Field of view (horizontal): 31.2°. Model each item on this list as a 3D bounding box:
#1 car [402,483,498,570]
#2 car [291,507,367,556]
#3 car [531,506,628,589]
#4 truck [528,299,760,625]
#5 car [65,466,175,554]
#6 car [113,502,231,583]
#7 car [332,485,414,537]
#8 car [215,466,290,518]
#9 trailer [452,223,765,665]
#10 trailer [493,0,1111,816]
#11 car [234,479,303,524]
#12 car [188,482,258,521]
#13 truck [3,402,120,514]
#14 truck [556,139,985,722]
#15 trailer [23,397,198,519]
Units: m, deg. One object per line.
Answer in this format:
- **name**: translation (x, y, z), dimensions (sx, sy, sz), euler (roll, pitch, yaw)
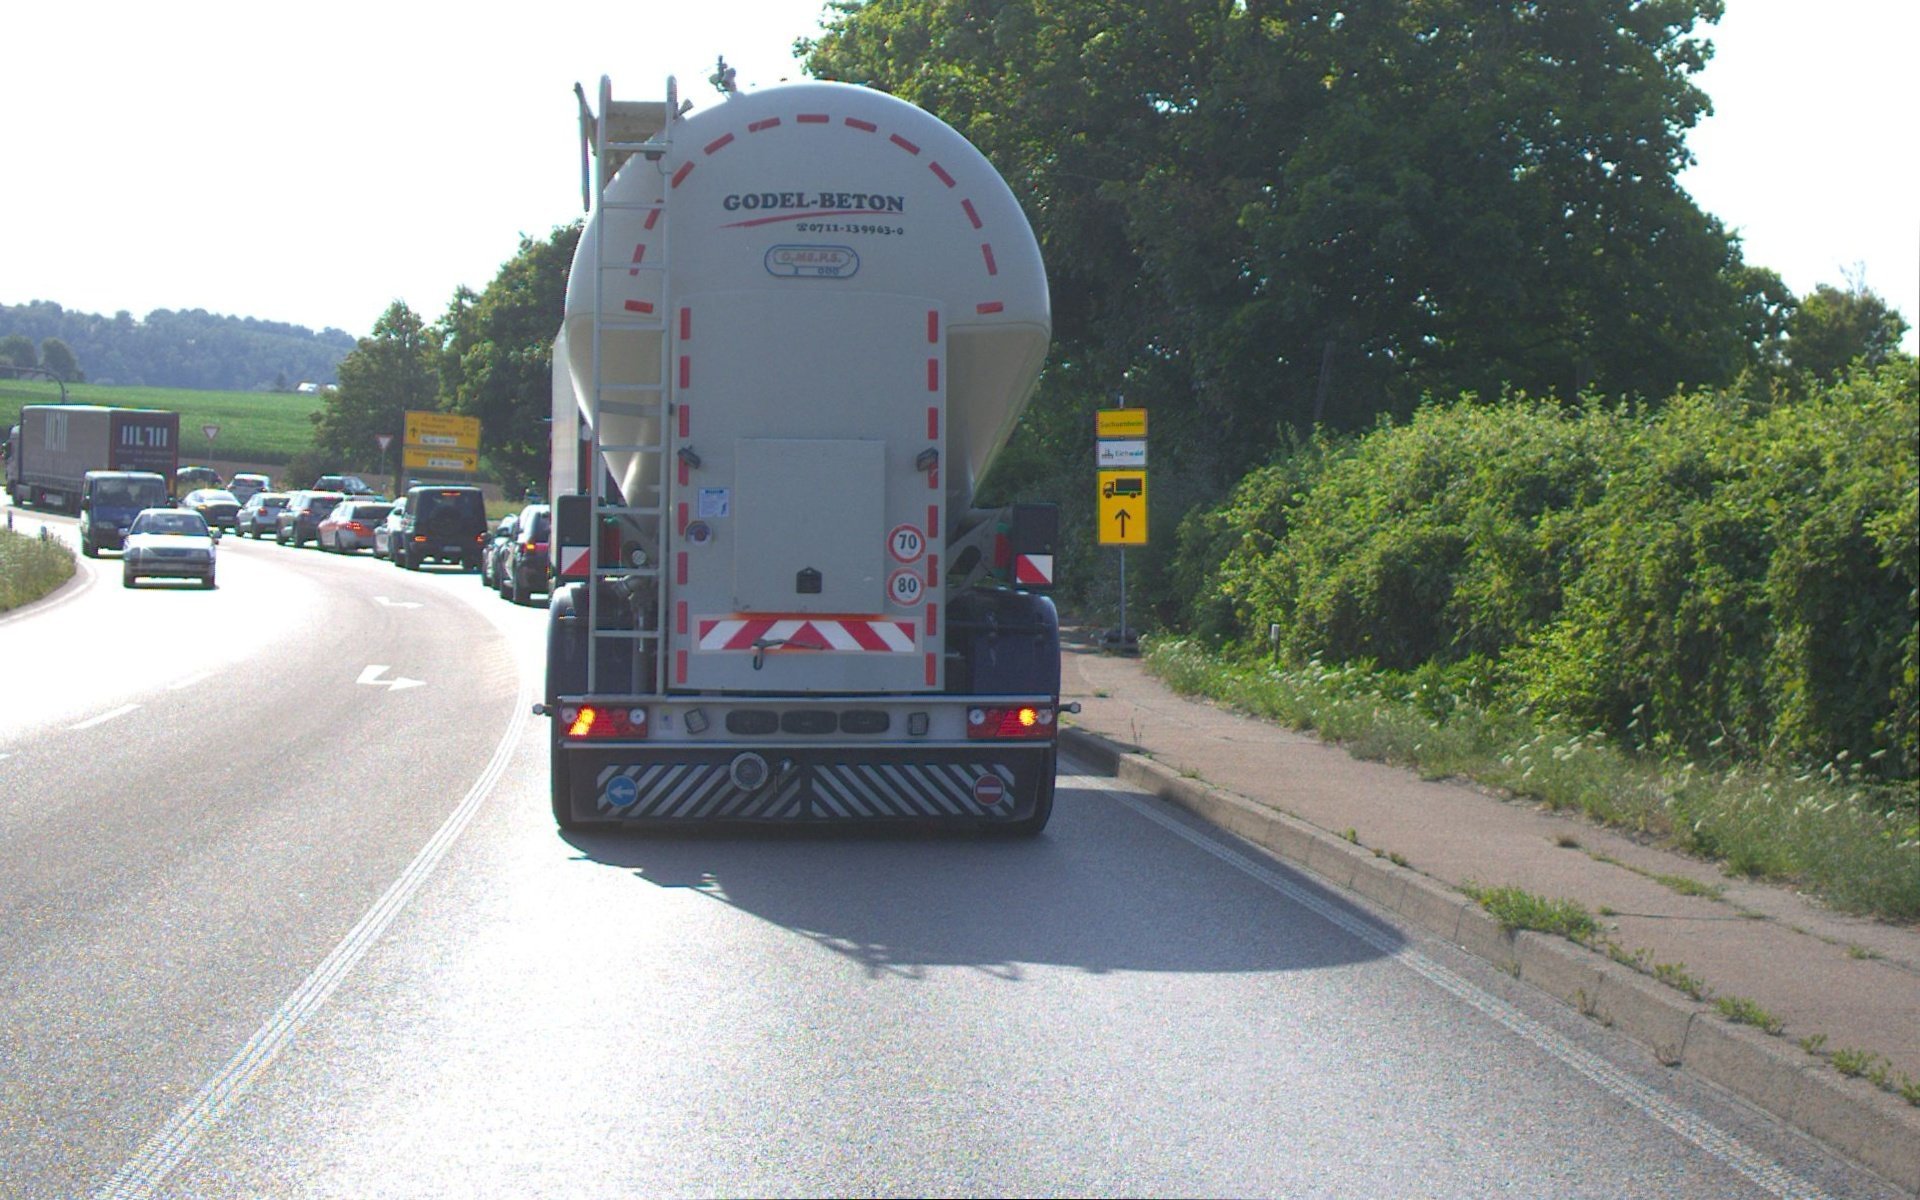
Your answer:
- **car**: translation (-12.170, -1.771, 81.921), dimensions (1.861, 2.007, 3.720), euler (1, 2, -14)
- **car**: translation (-18.752, -2.053, 102.084), dimensions (1.580, 1.336, 3.427), euler (2, 1, -21)
- **car**: translation (-6.601, -0.928, 59.480), dimensions (1.580, 1.336, 3.426), euler (2, 1, -7)
- **truck**: translation (-4.417, -1.918, 48.876), dimensions (2.951, 4.288, 4.932), euler (2, 1, -4)
- **car**: translation (-21.343, -2.291, 87.257), dimensions (1.997, 2.129, 4.781), euler (1, 1, -22)
- **car**: translation (-14.801, -1.095, 64.728), dimensions (1.706, 1.423, 4.179), euler (1, 1, -7)
- **car**: translation (-16.429, -2.495, 96.087), dimensions (1.580, 1.336, 3.427), euler (2, 1, -21)
- **car**: translation (-29.034, -4.425, 140.998), dimensions (1.993, 2.006, 4.001), euler (0, 3, -27)
- **trailer**: translation (-3.956, -1.729, 41.458), dimensions (2.954, 4.300, 14.178), euler (2, 1, -4)
- **trailer**: translation (-1.124, -1.079, 21.506), dimensions (2.909, 3.992, 9.932), euler (1, 1, -4)
- **car**: translation (-22.128, -3.155, 109.967), dimensions (1.580, 1.336, 3.427), euler (2, 1, -21)
- **car**: translation (-24.926, -3.338, 116.202), dimensions (1.769, 1.201, 3.427), euler (2, 1, -21)
- **truck**: translation (-36.793, -5.802, 140.594), dimensions (3.375, 4.335, 5.707), euler (2, 1, -27)
- **truck**: translation (-1.458, -1.211, 25.893), dimensions (2.909, 3.992, 4.060), euler (1, 1, -4)
- **trailer**: translation (-33.071, -5.507, 133.226), dimensions (3.375, 4.335, 14.297), euler (2, 1, -27)
